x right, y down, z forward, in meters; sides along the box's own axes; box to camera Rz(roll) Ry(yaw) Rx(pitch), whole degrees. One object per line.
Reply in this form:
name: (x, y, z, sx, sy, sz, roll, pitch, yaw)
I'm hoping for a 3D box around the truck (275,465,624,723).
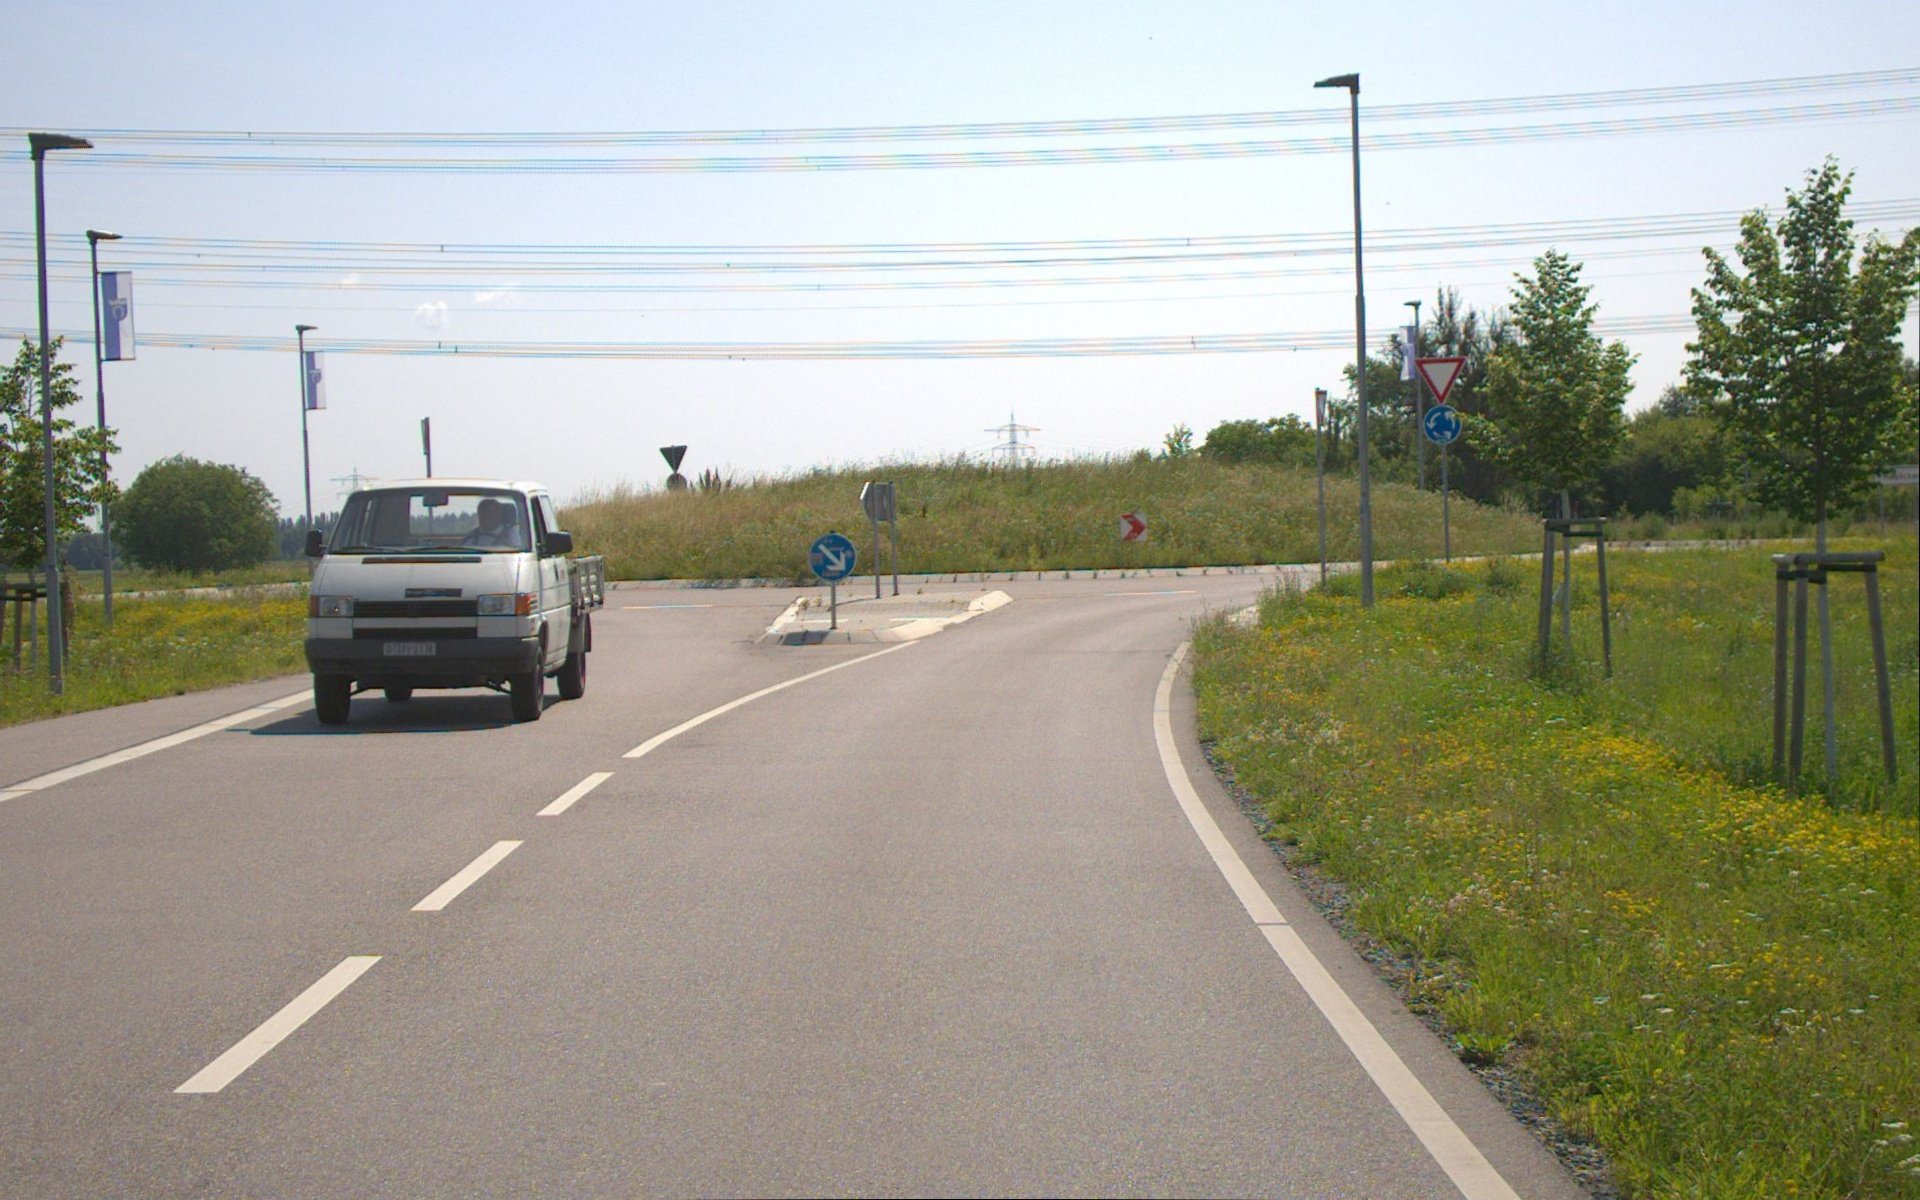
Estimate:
truck: (-4.200, -0.123, 29.234, 1.952, 1.978, 5.644, 0, 2, 2)
